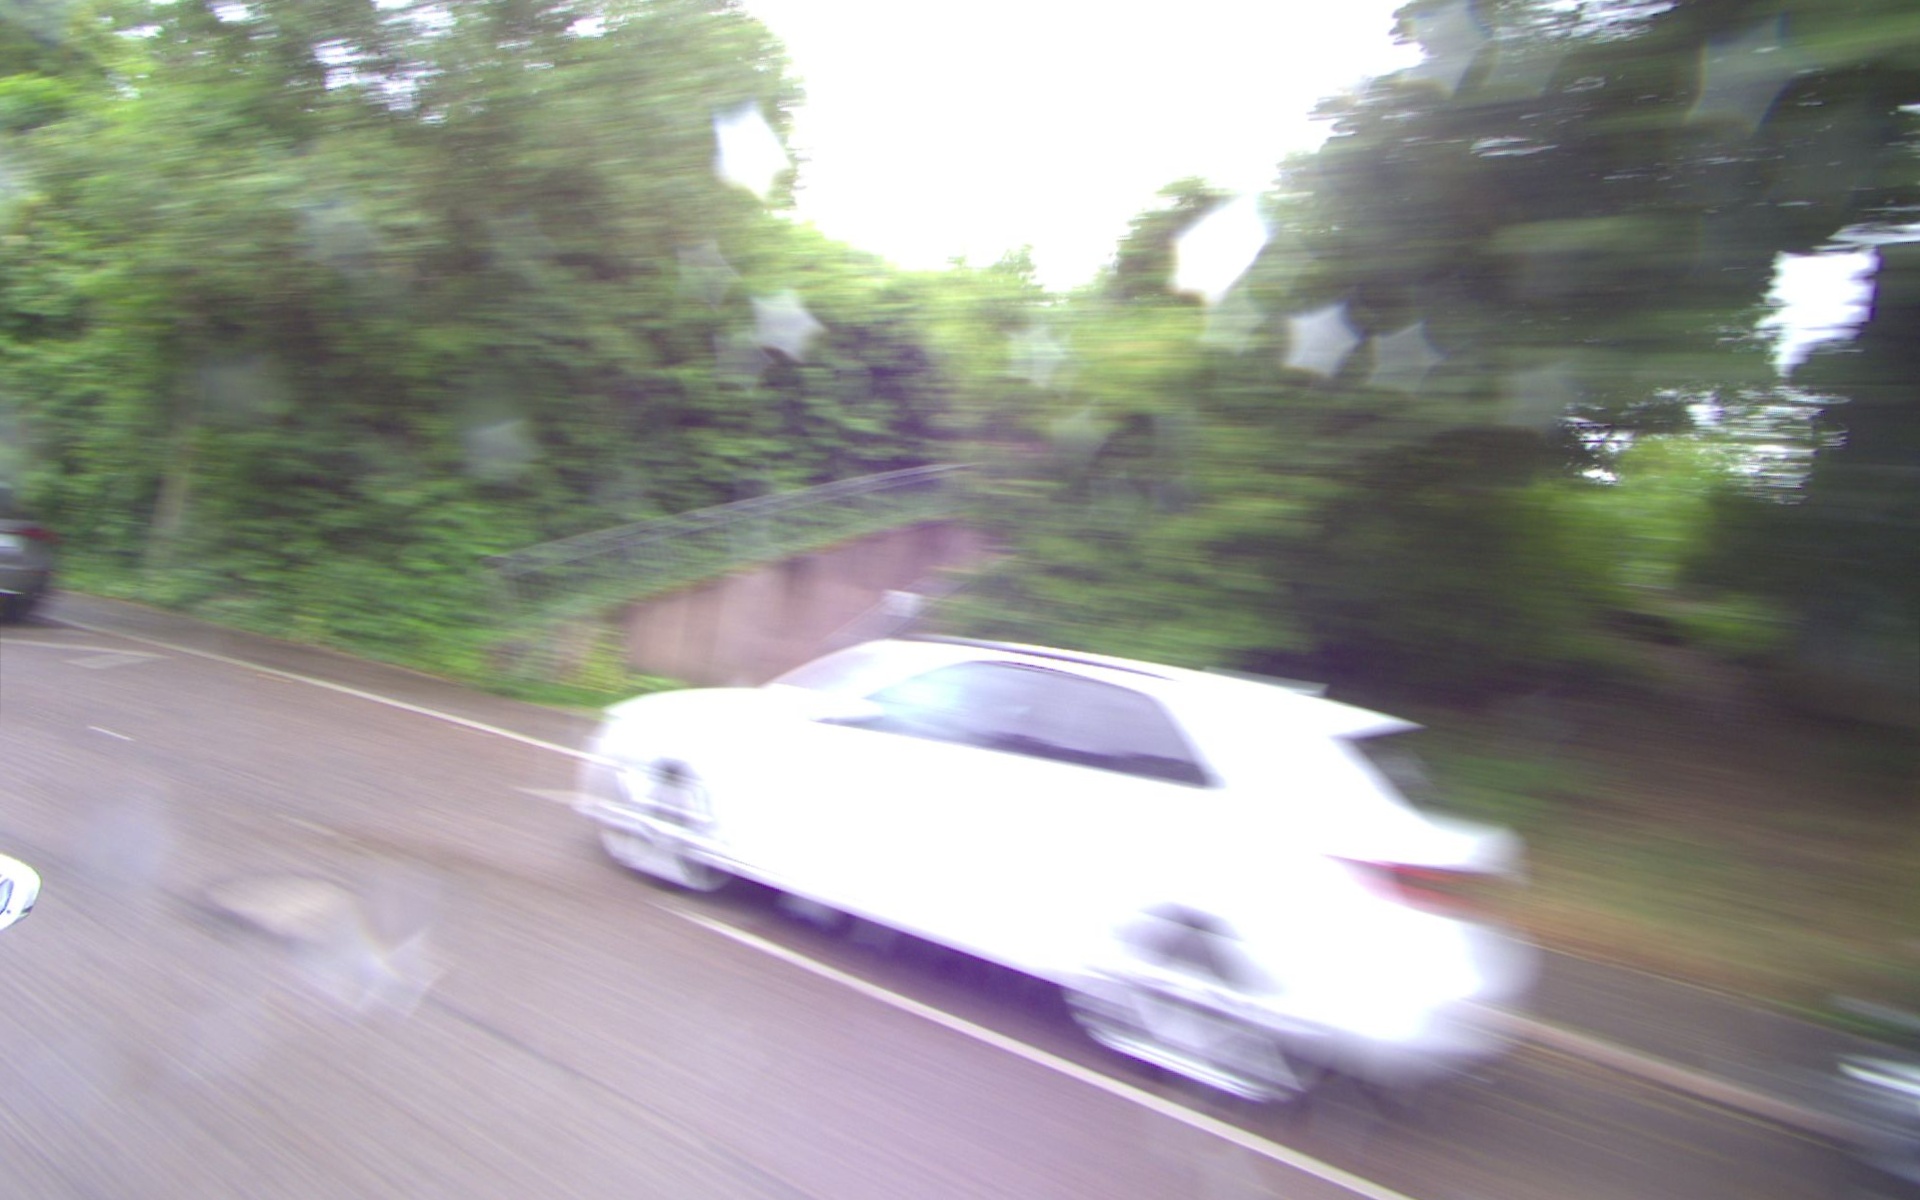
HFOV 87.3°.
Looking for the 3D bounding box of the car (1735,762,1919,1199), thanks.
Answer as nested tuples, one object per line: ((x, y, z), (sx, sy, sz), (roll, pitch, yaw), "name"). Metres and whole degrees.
((4.188, 1.452, 2.050), (3.906, 1.440, 1.662), (8, -2, 36), "car")

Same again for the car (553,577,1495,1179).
((0.185, 0.908, 4.835), (4.026, 1.416, 1.759), (8, -1, 30), "car")

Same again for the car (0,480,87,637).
((-11.054, -0.654, 9.896), (4.047, 1.462, 1.726), (8, 1, 16), "car")
